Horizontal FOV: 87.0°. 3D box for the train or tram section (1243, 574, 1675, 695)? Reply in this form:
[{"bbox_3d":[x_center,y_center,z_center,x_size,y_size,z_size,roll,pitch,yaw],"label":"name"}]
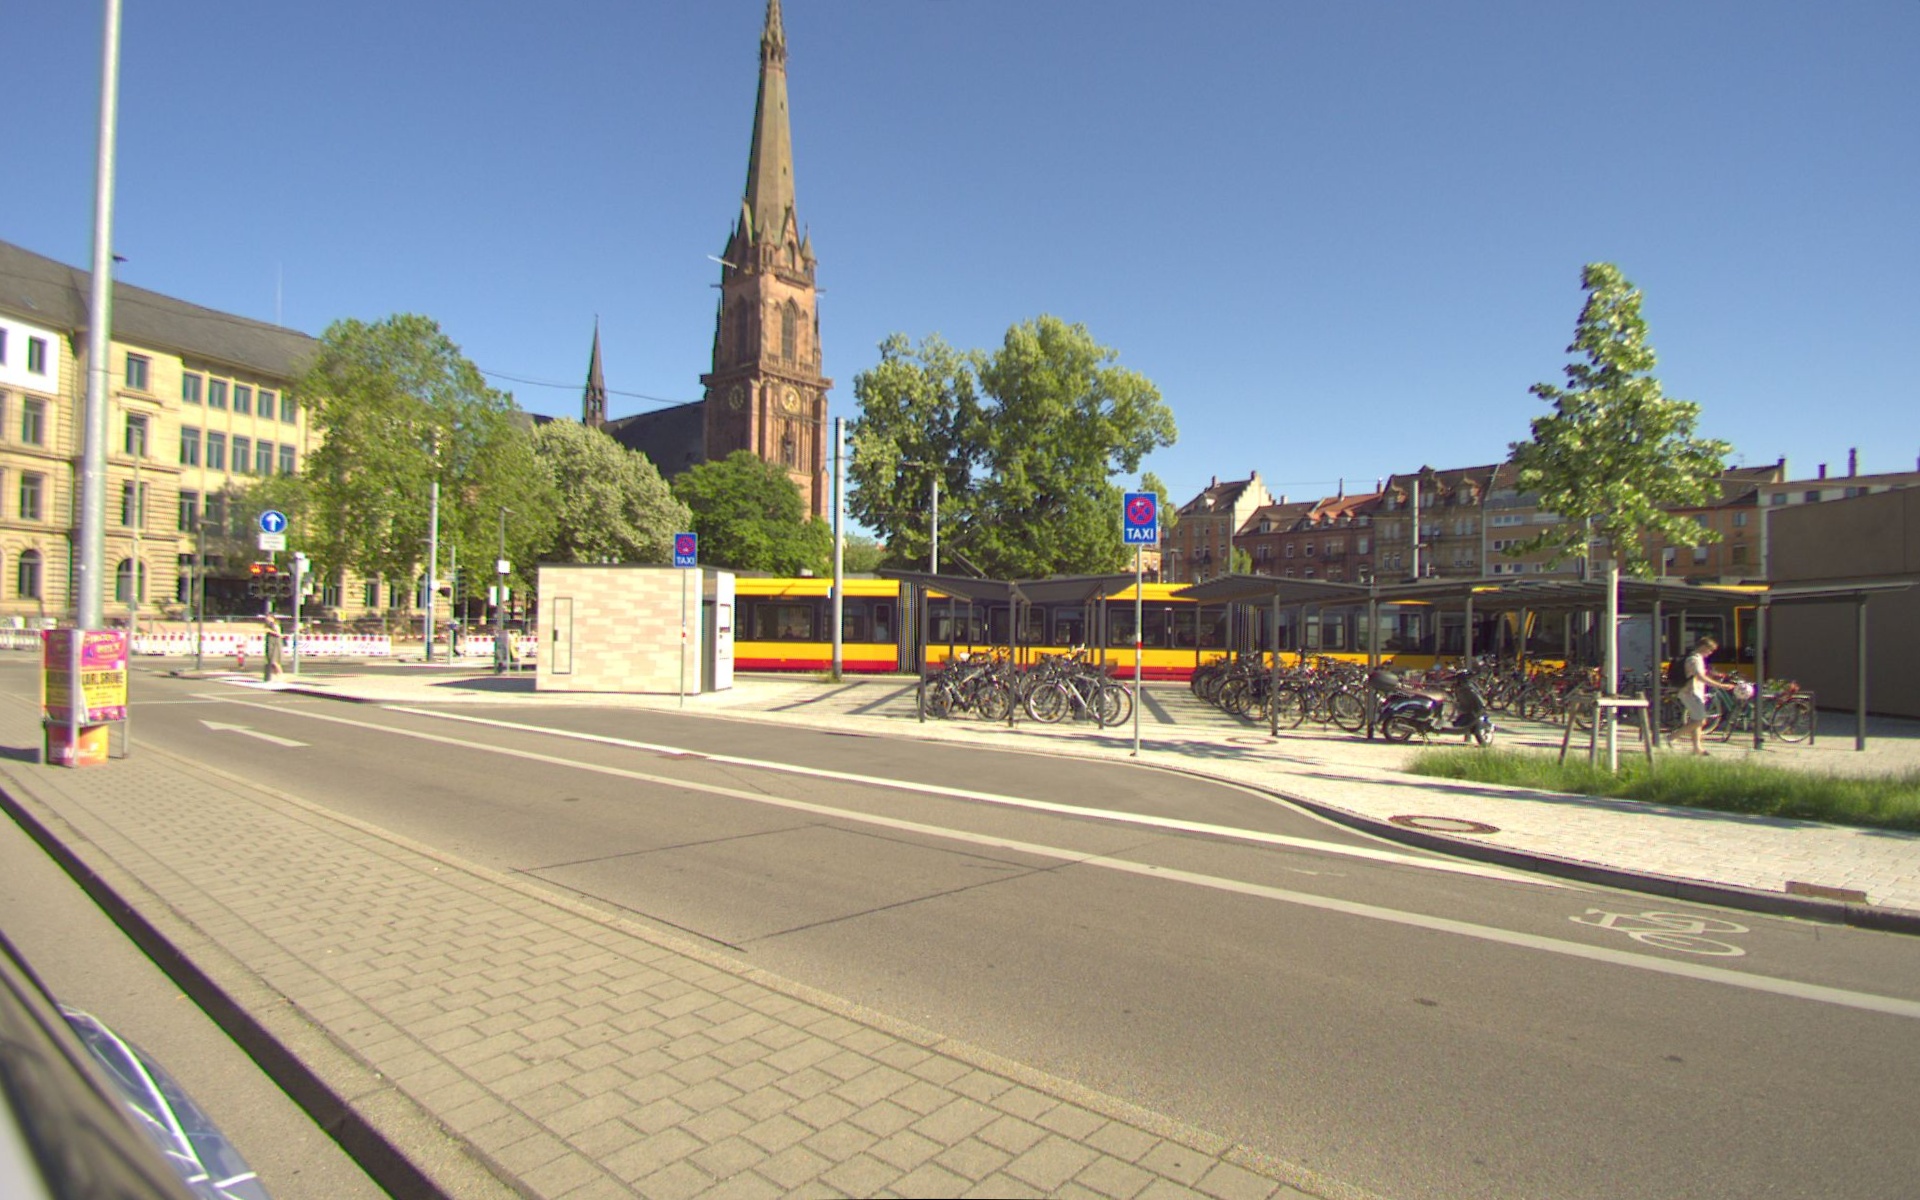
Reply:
[{"bbox_3d":[15.604,1.065,32.557,12.174,3.628,2.828,0,-2,6],"label":"train or tram section"}]

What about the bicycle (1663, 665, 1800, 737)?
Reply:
[{"bbox_3d":[12.988,1.692,17.069,1.805,1.155,0.629,0,-2,0],"label":"bicycle"}]

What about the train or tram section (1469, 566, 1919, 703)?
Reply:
[{"bbox_3d":[21.427,0.942,28.706,12.179,3.628,2.748,0,-2,7],"label":"train or tram section"}]

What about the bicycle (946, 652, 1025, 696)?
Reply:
[{"bbox_3d":[0.616,1.754,24.119,1.809,1.015,0.627,0,-2,9],"label":"bicycle"}]

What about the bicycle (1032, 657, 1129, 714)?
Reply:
[{"bbox_3d":[2.317,1.639,19.546,1.808,1.015,0.745,0,-2,7],"label":"bicycle"}]

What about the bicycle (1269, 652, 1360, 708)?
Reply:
[{"bbox_3d":[7.925,1.771,22.683,1.808,1.198,0.647,0,-2,7],"label":"bicycle"}]

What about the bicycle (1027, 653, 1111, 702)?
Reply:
[{"bbox_3d":[2.374,1.691,22.128,1.808,1.015,0.627,0,-2,7],"label":"bicycle"}]

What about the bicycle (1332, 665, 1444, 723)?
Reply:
[{"bbox_3d":[7.997,1.753,18.975,1.808,1.015,0.627,0,-2,7],"label":"bicycle"}]

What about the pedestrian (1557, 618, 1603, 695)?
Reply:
[{"bbox_3d":[15.426,1.399,25.175,0.700,1.869,0.751,2,-2,-38],"label":"pedestrian"}]

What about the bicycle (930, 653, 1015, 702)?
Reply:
[{"bbox_3d":[0.286,1.694,22.176,1.809,1.015,0.627,0,-2,9],"label":"bicycle"}]

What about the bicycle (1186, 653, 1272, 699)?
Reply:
[{"bbox_3d":[6.118,1.725,23.115,1.807,1.015,0.628,0,-2,5],"label":"bicycle"}]

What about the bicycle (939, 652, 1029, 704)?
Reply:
[{"bbox_3d":[0.509,1.619,21.144,1.809,1.015,0.627,0,-2,9],"label":"bicycle"}]

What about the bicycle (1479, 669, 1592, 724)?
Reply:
[{"bbox_3d":[11.258,1.877,19.846,1.809,1.015,0.627,0,-2,9],"label":"bicycle"}]

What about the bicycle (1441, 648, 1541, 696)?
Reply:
[{"bbox_3d":[11.684,1.581,22.312,1.809,1.015,0.627,0,-2,9],"label":"bicycle"}]

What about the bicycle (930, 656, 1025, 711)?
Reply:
[{"bbox_3d":[0.357,1.639,19.989,1.809,1.015,0.627,0,-2,9],"label":"bicycle"}]

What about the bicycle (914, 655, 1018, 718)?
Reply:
[{"bbox_3d":[0.113,1.542,18.241,1.809,1.074,0.627,0,-2,9],"label":"bicycle"}]

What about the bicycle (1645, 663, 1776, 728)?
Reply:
[{"bbox_3d":[13.587,1.720,18.365,1.808,1.101,0.627,0,-2,7],"label":"bicycle"}]

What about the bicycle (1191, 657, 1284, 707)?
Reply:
[{"bbox_3d":[5.966,1.760,21.811,1.805,1.015,0.629,0,-2,0],"label":"bicycle"}]

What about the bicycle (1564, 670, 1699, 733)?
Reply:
[{"bbox_3d":[11.600,1.746,17.531,1.872,1.004,0.499,0,-2,13],"label":"bicycle"}]

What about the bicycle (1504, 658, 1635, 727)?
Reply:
[{"bbox_3d":[11.294,1.707,18.806,2.029,1.218,0.505,0,-2,8],"label":"bicycle"}]

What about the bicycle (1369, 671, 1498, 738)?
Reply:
[{"bbox_3d":[7.764,1.708,16.655,1.808,1.015,0.627,0,-2,7],"label":"bicycle"}]

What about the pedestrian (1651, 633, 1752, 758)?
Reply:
[{"bbox_3d":[10.678,1.338,14.616,1.019,1.718,0.831,-1,-2,27],"label":"pedestrian"}]

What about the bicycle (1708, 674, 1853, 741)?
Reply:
[{"bbox_3d":[13.017,1.699,16.082,1.803,1.015,0.629,1,-2,-3],"label":"bicycle"}]

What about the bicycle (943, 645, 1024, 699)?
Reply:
[{"bbox_3d":[0.558,1.650,23.420,1.809,1.188,0.627,0,-2,9],"label":"bicycle"}]

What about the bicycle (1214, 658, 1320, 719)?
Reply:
[{"bbox_3d":[5.873,1.686,19.415,1.859,1.101,0.626,0,-2,8],"label":"bicycle"}]

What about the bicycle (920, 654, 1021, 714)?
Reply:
[{"bbox_3d":[0.209,1.547,18.770,1.809,1.059,0.571,0,-2,9],"label":"bicycle"}]

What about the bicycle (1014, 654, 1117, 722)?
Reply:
[{"bbox_3d":[1.906,1.581,18.281,1.808,1.157,0.627,0,-2,7],"label":"bicycle"}]

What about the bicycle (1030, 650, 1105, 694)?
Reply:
[{"bbox_3d":[2.629,1.762,24.814,1.808,1.015,0.627,0,-2,7],"label":"bicycle"}]

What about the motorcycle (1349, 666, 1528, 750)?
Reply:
[{"bbox_3d":[7.165,1.608,15.238,2.333,1.167,0.610,0,-2,7],"label":"motorcycle"}]

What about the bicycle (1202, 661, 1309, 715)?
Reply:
[{"bbox_3d":[5.945,1.764,20.436,1.978,1.015,0.628,0,-2,4],"label":"bicycle"}]

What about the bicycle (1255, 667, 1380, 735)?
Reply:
[{"bbox_3d":[5.974,1.680,16.983,1.871,1.050,0.688,0,-2,9],"label":"bicycle"}]

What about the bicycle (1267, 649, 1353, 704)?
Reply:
[{"bbox_3d":[8.232,1.788,23.881,1.808,1.242,0.627,0,-2,7],"label":"bicycle"}]

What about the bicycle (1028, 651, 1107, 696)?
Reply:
[{"bbox_3d":[2.507,1.706,23.614,1.808,1.015,0.627,0,-2,7],"label":"bicycle"}]

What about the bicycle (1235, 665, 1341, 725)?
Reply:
[{"bbox_3d":[5.850,1.689,18.137,1.731,1.015,0.547,0,-2,10],"label":"bicycle"}]

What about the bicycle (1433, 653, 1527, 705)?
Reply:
[{"bbox_3d":[11.997,1.818,23.408,1.809,1.140,0.627,0,-2,9],"label":"bicycle"}]

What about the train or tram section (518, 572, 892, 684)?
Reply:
[{"bbox_3d":[-8.696,0.928,35.125,12.382,3.628,2.796,0,-2,6],"label":"train or tram section"}]

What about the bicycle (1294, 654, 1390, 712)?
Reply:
[{"bbox_3d":[8.107,1.750,21.533,1.808,1.170,0.627,0,-2,7],"label":"bicycle"}]

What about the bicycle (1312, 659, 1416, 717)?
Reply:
[{"bbox_3d":[8.071,1.751,20.267,1.808,1.088,0.627,0,-2,7],"label":"bicycle"}]

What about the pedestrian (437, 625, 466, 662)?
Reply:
[{"bbox_3d":[-24.821,2.113,49.399,0.923,1.754,0.805,0,-2,5],"label":"pedestrian"}]

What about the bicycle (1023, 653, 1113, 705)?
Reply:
[{"bbox_3d":[2.225,1.613,20.853,1.808,1.015,0.627,0,-2,7],"label":"bicycle"}]

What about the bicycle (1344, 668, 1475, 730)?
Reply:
[{"bbox_3d":[7.916,1.734,17.881,2.003,1.015,0.627,0,-2,7],"label":"bicycle"}]

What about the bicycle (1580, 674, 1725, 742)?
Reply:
[{"bbox_3d":[11.155,1.726,16.354,1.809,1.015,0.627,0,-2,9],"label":"bicycle"}]

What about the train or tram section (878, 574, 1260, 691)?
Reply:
[{"bbox_3d":[3.499,1.047,33.829,12.174,3.628,2.796,0,-2,6],"label":"train or tram section"}]

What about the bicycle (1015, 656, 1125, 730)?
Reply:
[{"bbox_3d":[1.862,1.560,17.138,1.808,1.167,0.627,1,-2,7],"label":"bicycle"}]

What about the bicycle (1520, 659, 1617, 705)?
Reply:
[{"bbox_3d":[14.049,1.885,23.411,1.808,1.015,0.627,0,-2,7],"label":"bicycle"}]

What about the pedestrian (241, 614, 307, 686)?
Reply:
[{"bbox_3d":[-18.267,1.315,26.963,0.825,1.869,1.215,-1,-2,34],"label":"pedestrian"}]

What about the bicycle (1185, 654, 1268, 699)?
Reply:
[{"bbox_3d":[6.248,1.789,23.803,1.808,1.015,0.627,0,-2,6],"label":"bicycle"}]

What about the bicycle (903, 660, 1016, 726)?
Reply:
[{"bbox_3d":[0.003,1.587,17.377,1.847,1.015,0.699,2,-2,9],"label":"bicycle"}]
